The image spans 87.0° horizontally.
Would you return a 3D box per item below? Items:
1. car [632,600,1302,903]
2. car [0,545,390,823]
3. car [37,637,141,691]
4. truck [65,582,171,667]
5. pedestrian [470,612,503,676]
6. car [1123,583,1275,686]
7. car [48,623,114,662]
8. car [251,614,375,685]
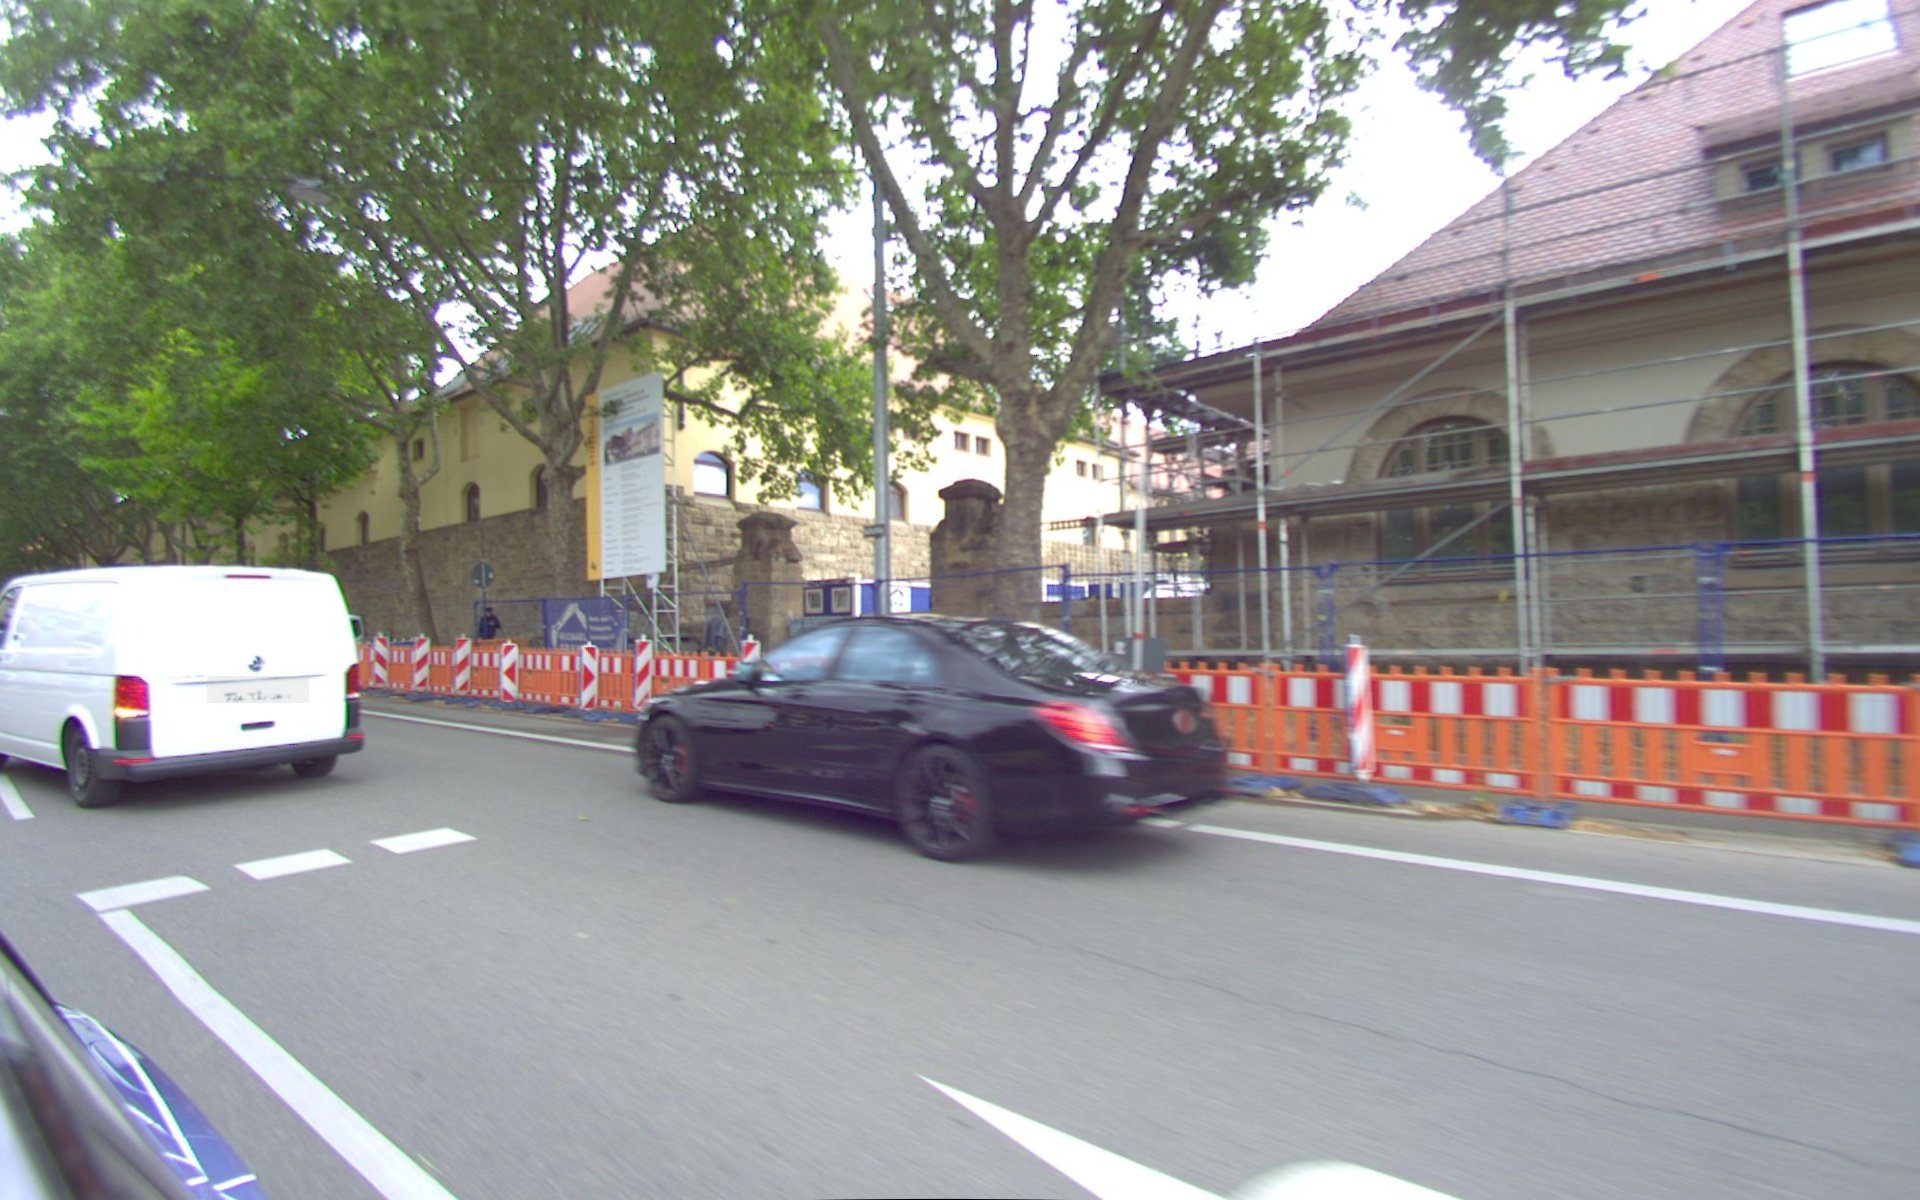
[{"bbox_3d":[-0.263,0.789,7.250,4.847,1.483,1.783,-1,-2,42],"label":"car"},{"bbox_3d":[-7.773,0.638,9.528,5.228,1.946,2.185,-1,-2,36],"label":"car"},{"bbox_3d":[-25.507,1.817,29.586,4.246,1.437,1.682,-1,-2,41],"label":"car"},{"bbox_3d":[-36.815,1.030,44.163,7.240,3.442,2.193,-1,0,40],"label":"truck"},{"bbox_3d":[-13.773,1.266,29.447,0.742,1.813,0.586,-1,0,41],"label":"pedestrian"},{"bbox_3d":[7.094,0.880,29.500,1.997,2.669,5.988,-1,1,38],"label":"car"},{"bbox_3d":[-41.938,1.973,48.265,4.249,1.702,1.714,-1,1,40],"label":"car"},{"bbox_3d":[-18.584,1.383,29.003,4.414,1.891,1.815,-1,-2,41],"label":"car"}]
